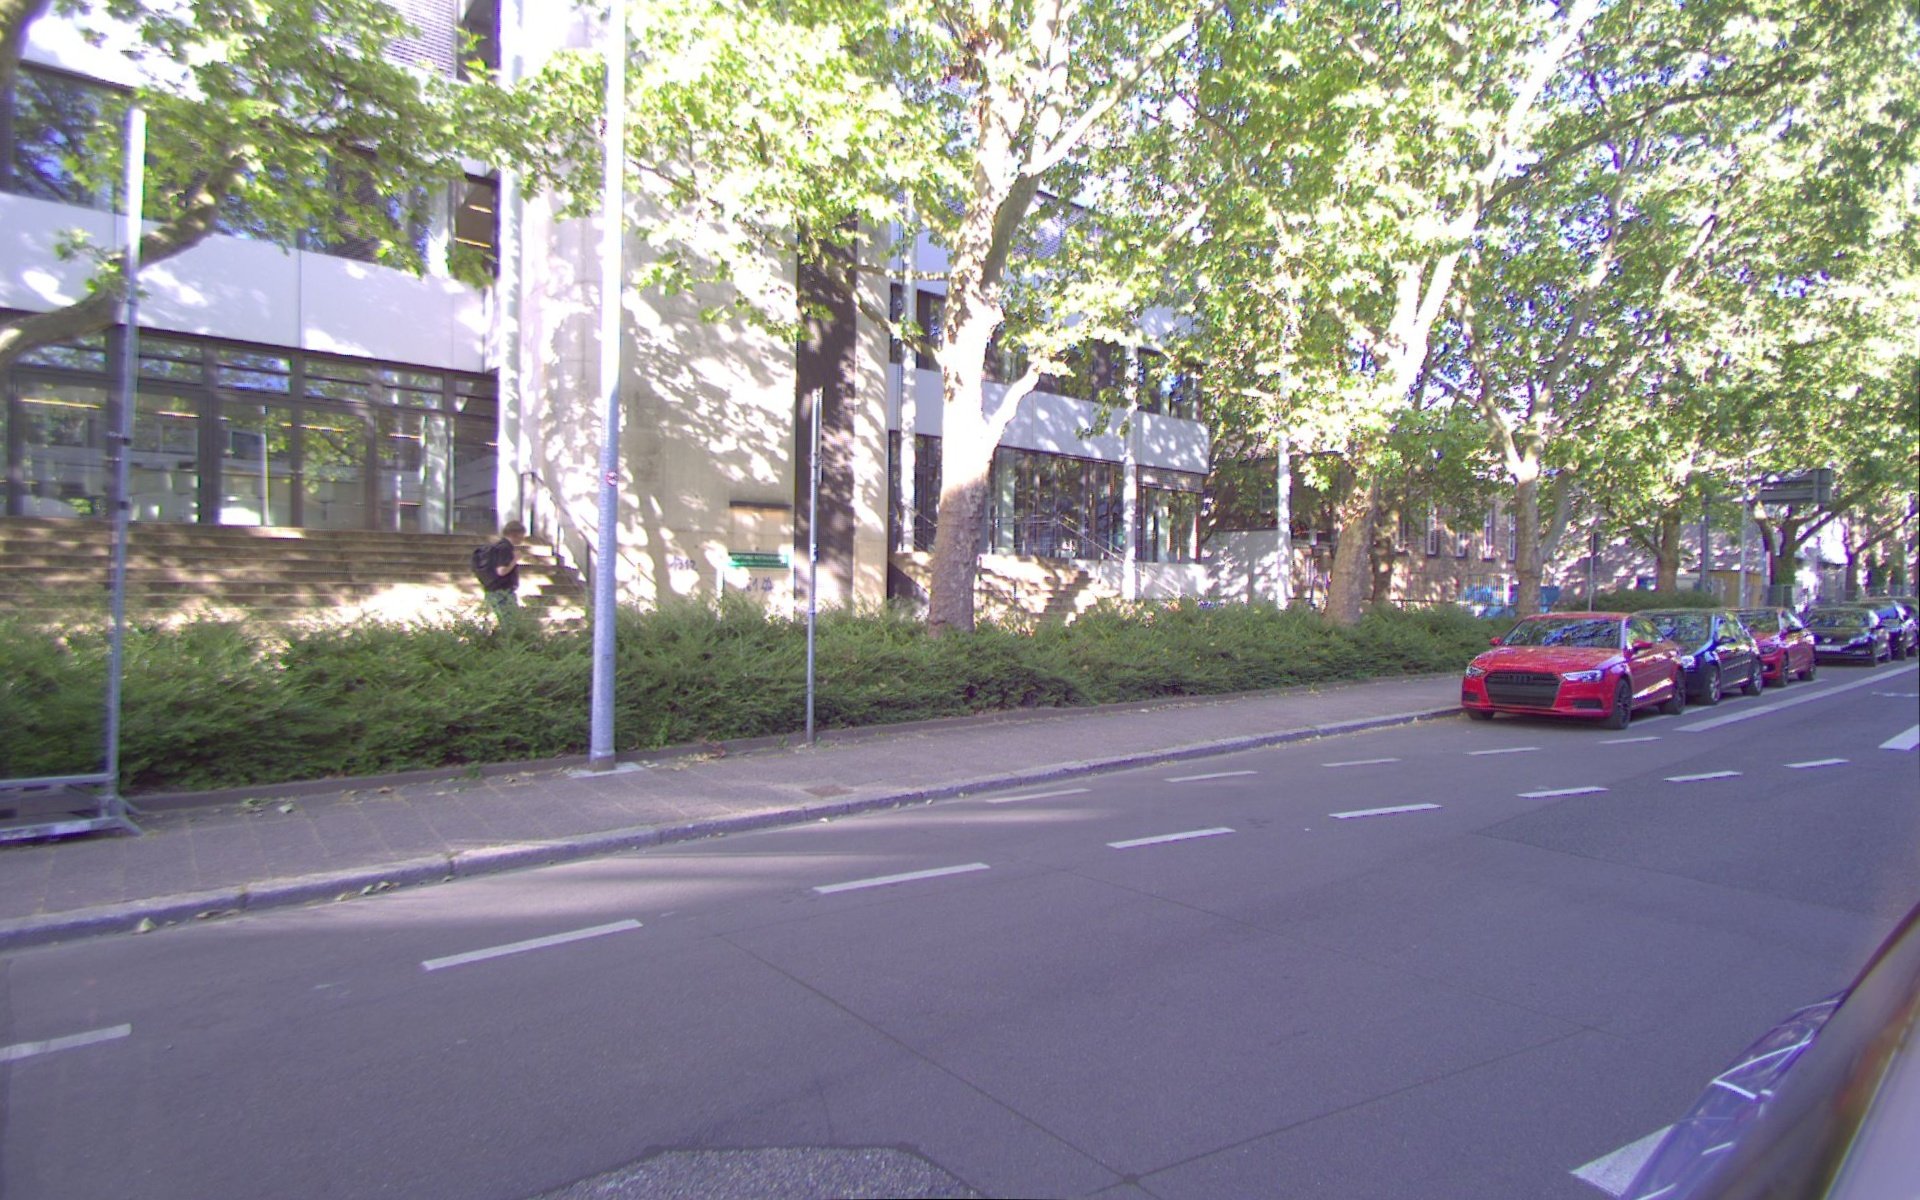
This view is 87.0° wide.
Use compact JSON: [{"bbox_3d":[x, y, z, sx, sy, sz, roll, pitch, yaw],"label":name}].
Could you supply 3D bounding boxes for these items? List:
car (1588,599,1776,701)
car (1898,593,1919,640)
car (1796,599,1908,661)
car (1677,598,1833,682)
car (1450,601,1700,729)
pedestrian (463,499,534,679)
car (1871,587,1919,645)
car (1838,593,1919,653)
[{"bbox_3d":[11.855,0.729,16.555,3.632,1.436,1.668,-1,0,-40],"label":"car"},{"bbox_3d":[35.534,0.569,36.795,4.497,1.633,1.632,-1,0,-41],"label":"car"},{"bbox_3d":[22.947,0.709,25.998,3.855,1.441,1.691,-1,0,-41],"label":"car"},{"bbox_3d":[15.742,0.707,19.982,3.854,1.467,1.691,-1,0,-40],"label":"car"},{"bbox_3d":[8.300,0.736,13.525,3.931,1.409,1.792,-1,0,-42],"label":"car"},{"bbox_3d":[-5.398,-0.131,11.839,0.549,2.039,0.555,0,0,38],"label":"pedestrian"},{"bbox_3d":[31.170,0.470,33.024,4.497,1.814,1.632,-1,0,-41],"label":"car"},{"bbox_3d":[26.632,0.601,29.055,4.158,1.598,1.632,-1,0,-41],"label":"car"}]
